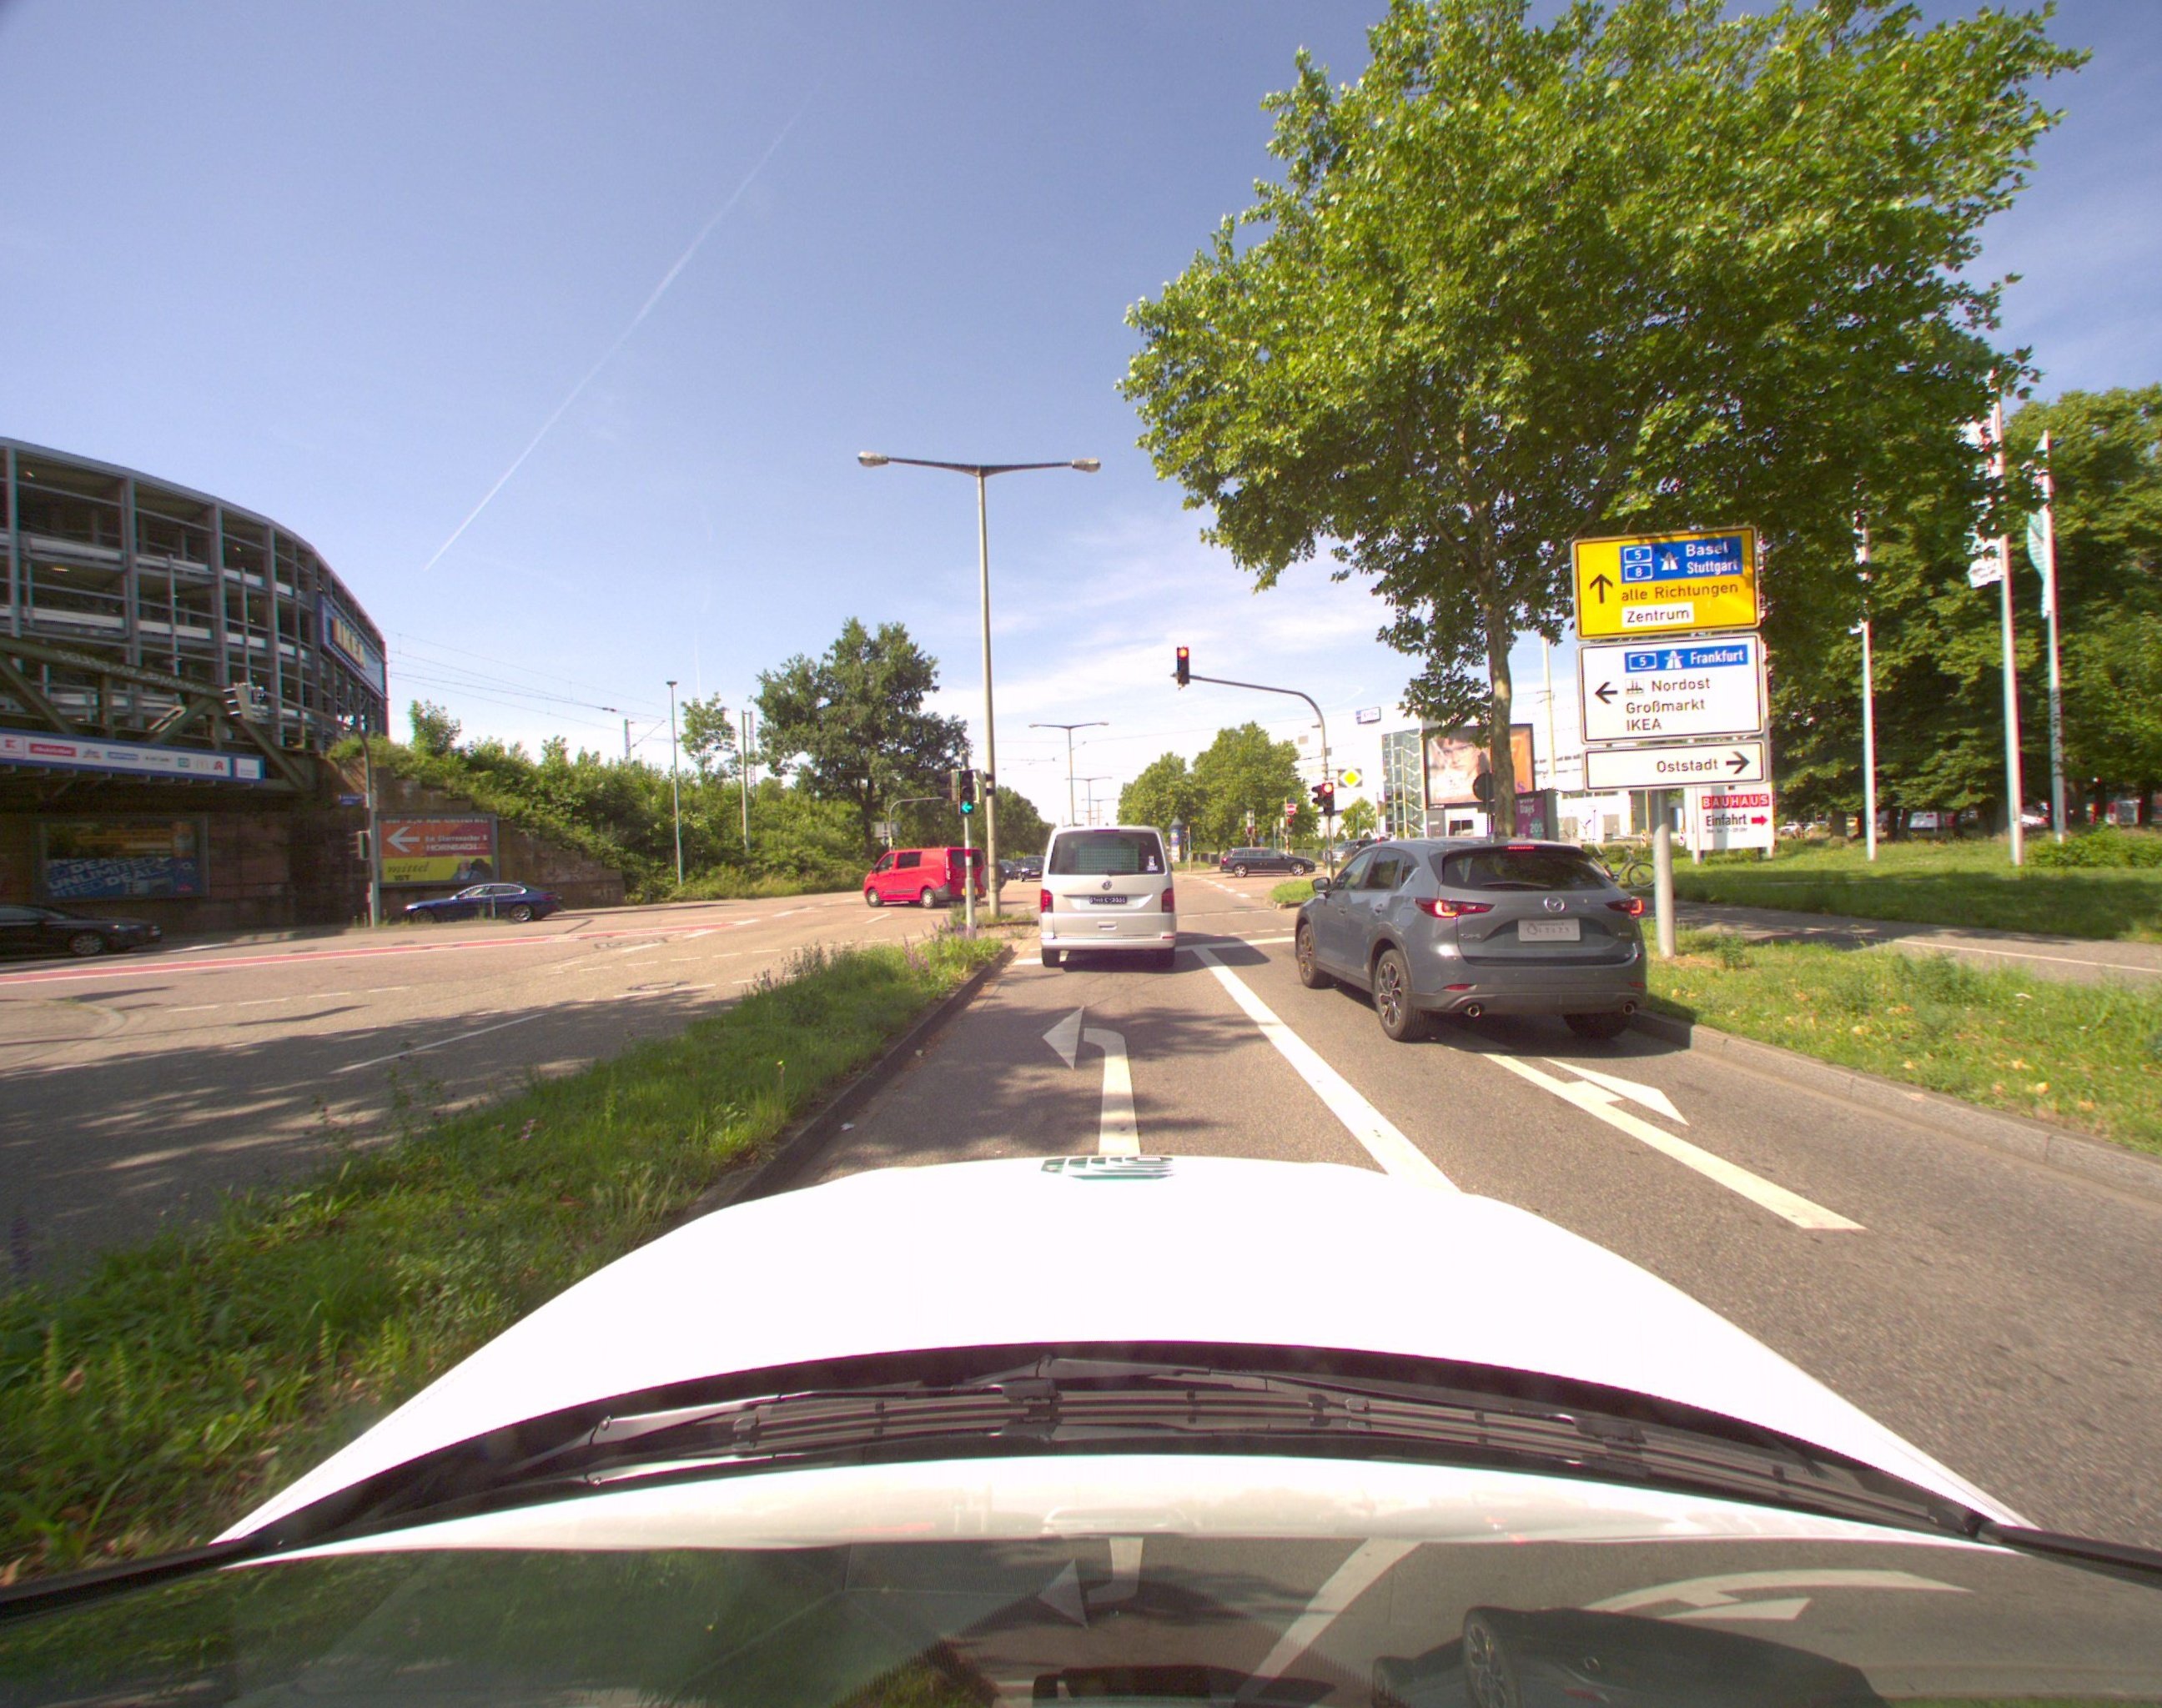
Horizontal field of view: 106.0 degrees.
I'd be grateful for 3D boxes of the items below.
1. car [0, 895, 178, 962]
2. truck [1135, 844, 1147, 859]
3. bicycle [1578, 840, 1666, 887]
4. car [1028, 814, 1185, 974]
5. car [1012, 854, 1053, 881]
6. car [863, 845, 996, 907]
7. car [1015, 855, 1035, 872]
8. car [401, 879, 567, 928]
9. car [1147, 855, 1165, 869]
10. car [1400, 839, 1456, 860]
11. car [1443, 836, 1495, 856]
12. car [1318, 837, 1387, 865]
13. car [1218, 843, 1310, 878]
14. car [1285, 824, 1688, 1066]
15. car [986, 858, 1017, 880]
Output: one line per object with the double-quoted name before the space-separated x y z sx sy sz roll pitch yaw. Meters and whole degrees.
"car" -25.970 1.890 20.253 4.353 1.395 1.752 -3 0 -34
"truck" 18.607 -0.741 253.555 3.175 4.355 13.167 -3 0 6
"bicycle" 13.922 0.251 21.009 1.771 1.108 0.506 -4 -1 20
"car" 0.420 0.513 12.836 1.934 1.971 5.024 -2 0 2
"car" -3.159 0.854 52.410 1.811 1.605 4.357 -3 0 -14
"car" -5.205 0.758 27.648 4.502 1.924 1.987 -3 0 41
"car" -6.353 1.098 92.731 1.844 1.814 4.000 -3 0 0
"car" -20.892 1.694 28.729 4.325 1.397 1.781 -2 0 -19
"car" 7.395 0.774 80.111 1.634 1.236 3.260 -3 0 8
"car" 27.354 -0.357 64.150 4.646 1.444 1.762 -2 0 -34
"car" 32.085 -0.703 67.265 4.646 1.444 1.762 -2 0 -34
"car" 18.161 -0.194 54.468 4.646 1.689 1.895 -2 0 -34
"car" 9.228 0.324 40.950 4.346 1.510 1.859 -3 0 16
"car" 3.370 0.639 7.892 1.759 1.659 4.497 -1 0 1
"car" -5.936 1.112 61.465 1.844 1.561 4.000 -3 0 0
